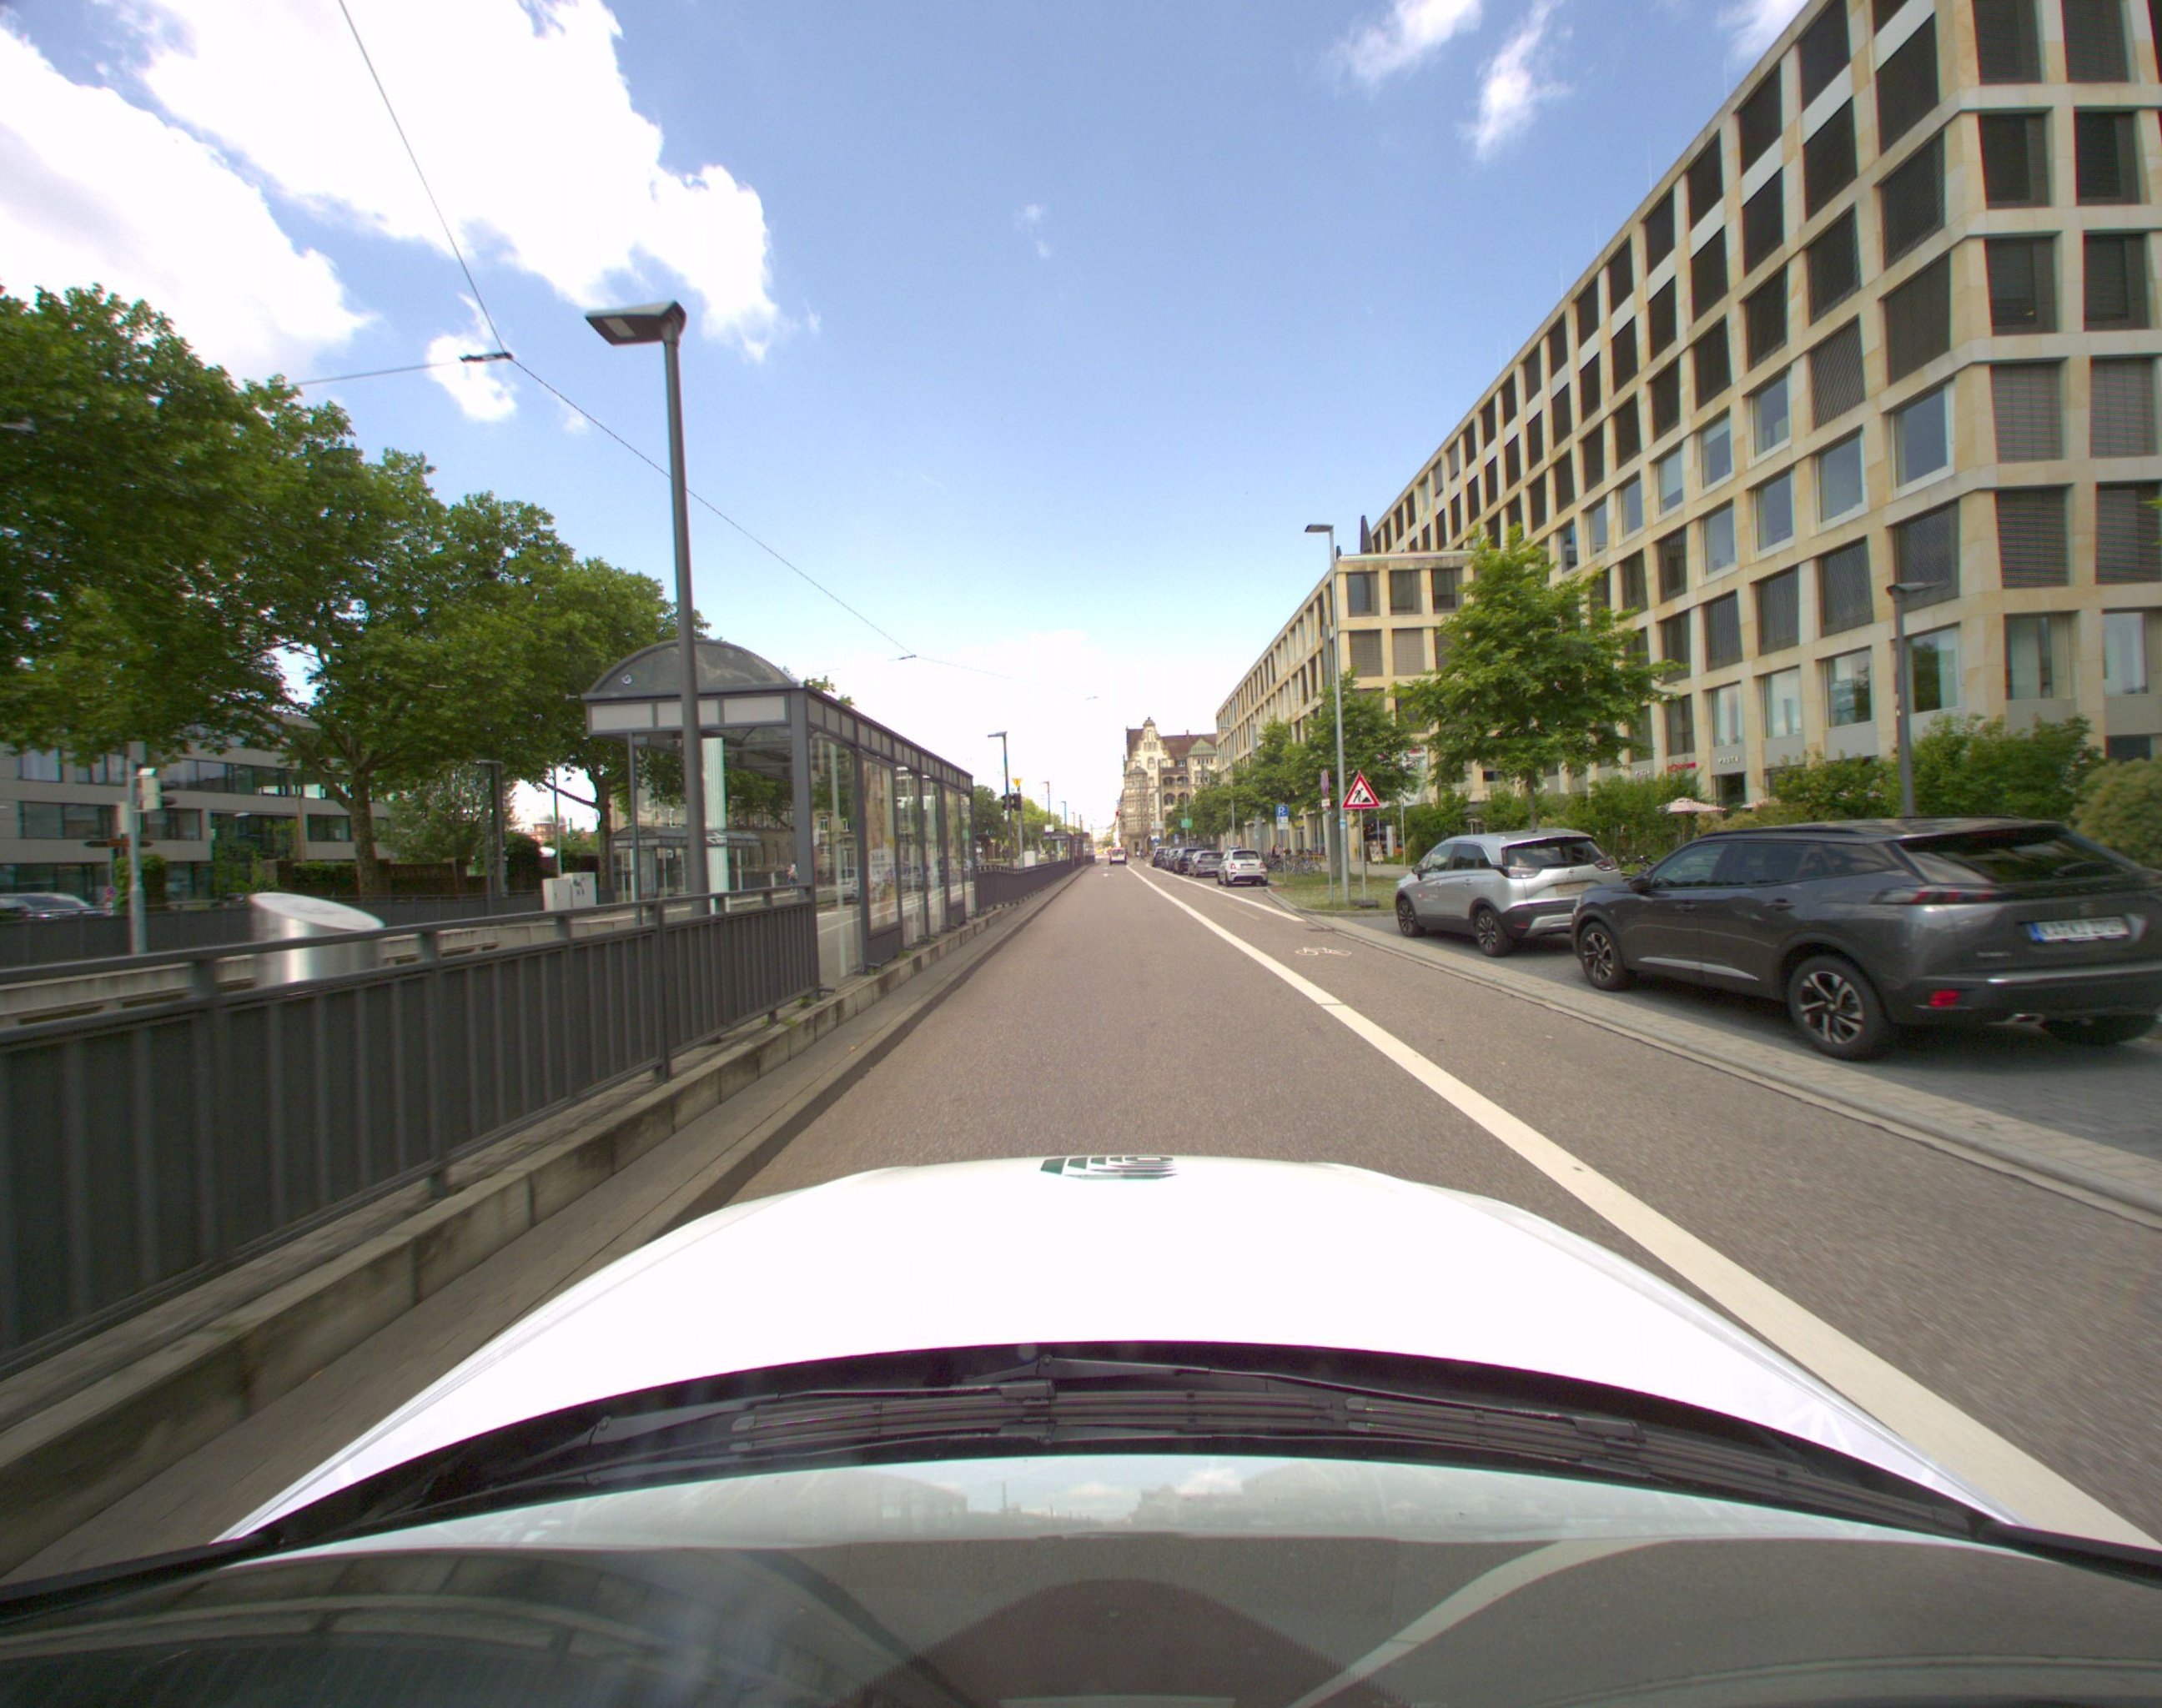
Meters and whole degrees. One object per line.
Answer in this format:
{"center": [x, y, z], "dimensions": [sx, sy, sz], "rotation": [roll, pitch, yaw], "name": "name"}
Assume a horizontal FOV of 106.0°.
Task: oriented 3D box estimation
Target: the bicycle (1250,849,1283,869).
{"center": [10.352, 0.268, 45.497], "dimensions": [1.746, 0.986, 0.326], "rotation": [-3, 0, 1], "name": "bicycle"}

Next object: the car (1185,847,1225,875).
{"center": [6.750, 0.369, 44.603], "dimensions": [1.586, 1.434, 4.107], "rotation": [-1, 1, 0], "name": "car"}

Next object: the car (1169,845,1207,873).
{"center": [6.596, 0.265, 50.630], "dimensions": [1.732, 1.669, 4.840], "rotation": [-1, 1, 0], "name": "car"}

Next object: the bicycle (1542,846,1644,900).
{"center": [9.546, 0.353, 15.216], "dimensions": [1.489, 0.917, 0.505], "rotation": [-3, -3, 4], "name": "bicycle"}

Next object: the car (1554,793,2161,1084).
{"center": [5.790, 0.452, 6.569], "dimensions": [1.679, 1.548, 3.928], "rotation": [-4, 0, 2], "name": "car"}

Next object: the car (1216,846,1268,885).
{"center": [6.569, 0.441, 33.577], "dimensions": [1.584, 1.460, 3.616], "rotation": [-1, 1, 3], "name": "car"}

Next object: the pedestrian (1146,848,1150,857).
{"center": [11.983, -0.309, 145.189], "dimensions": [0.484, 1.609, 0.362], "rotation": [-4, 0, 1], "name": "pedestrian"}

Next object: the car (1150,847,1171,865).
{"center": [6.930, 0.175, 71.400], "dimensions": [1.438, 1.470, 4.092], "rotation": [-1, 1, 0], "name": "car"}

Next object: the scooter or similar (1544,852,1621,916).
{"center": [9.779, 0.570, 15.912], "dimensions": [1.046, 1.175, 0.720], "rotation": [-2, 0, 5], "name": "scooter or similar"}

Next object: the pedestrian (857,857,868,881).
{"center": [-14.385, 0.988, 53.635], "dimensions": [0.498, 1.558, 0.643], "rotation": [-3, 0, 2], "name": "pedestrian"}

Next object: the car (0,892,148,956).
{"center": [-39.249, 2.710, 31.405], "dimensions": [4.122, 2.034, 1.960], "rotation": [-4, 0, 1], "name": "car"}

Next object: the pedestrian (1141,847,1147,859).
{"center": [8.347, -0.131, 107.982], "dimensions": [0.532, 1.572, 0.542], "rotation": [-4, 0, 0], "name": "pedestrian"}

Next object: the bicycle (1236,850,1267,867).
{"center": [10.920, 0.277, 52.152], "dimensions": [1.815, 1.030, 0.433], "rotation": [-3, 0, 4], "name": "bicycle"}

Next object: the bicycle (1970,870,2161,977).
{"center": [9.479, 0.644, 7.680], "dimensions": [1.489, 0.917, 0.505], "rotation": [-3, -3, 4], "name": "bicycle"}

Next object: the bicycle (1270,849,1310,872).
{"center": [10.378, 0.311, 40.461], "dimensions": [1.814, 1.076, 0.687], "rotation": [-3, 0, 5], "name": "bicycle"}

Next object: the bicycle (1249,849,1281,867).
{"center": [10.701, 0.234, 47.311], "dimensions": [1.746, 0.986, 0.326], "rotation": [-3, 0, 1], "name": "bicycle"}

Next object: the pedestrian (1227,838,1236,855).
{"center": [15.551, -0.732, 84.341], "dimensions": [0.757, 1.723, 0.659], "rotation": [-3, 0, 1], "name": "pedestrian"}

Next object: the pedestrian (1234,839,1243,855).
{"center": [16.307, -0.747, 84.334], "dimensions": [0.757, 1.670, 0.659], "rotation": [-3, 0, 1], "name": "pedestrian"}

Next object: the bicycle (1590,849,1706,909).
{"center": [9.467, 0.434, 13.635], "dimensions": [1.489, 0.917, 0.505], "rotation": [-3, -4, 4], "name": "bicycle"}

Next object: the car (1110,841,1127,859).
{"center": [4.389, -0.464, 96.430], "dimensions": [1.862, 2.020, 4.001], "rotation": [-2, 0, 1], "name": "car"}

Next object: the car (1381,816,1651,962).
{"center": [6.021, 0.414, 11.885], "dimensions": [1.680, 1.633, 3.990], "rotation": [-5, 0, 0], "name": "car"}

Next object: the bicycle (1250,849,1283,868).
{"center": [10.693, 0.236, 46.963], "dimensions": [1.746, 0.986, 0.326], "rotation": [-3, 0, 1], "name": "bicycle"}

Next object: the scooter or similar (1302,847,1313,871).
{"center": [11.819, 0.265, 42.480], "dimensions": [0.257, 1.215, 1.015], "rotation": [-3, 0, 1], "name": "scooter or similar"}

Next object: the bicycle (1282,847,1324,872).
{"center": [10.384, 0.254, 38.099], "dimensions": [1.814, 1.076, 0.275], "rotation": [-3, 0, 5], "name": "bicycle"}

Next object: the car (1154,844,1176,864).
{"center": [7.827, -0.011, 76.373], "dimensions": [1.704, 1.796, 3.361], "rotation": [-1, 1, 0], "name": "car"}

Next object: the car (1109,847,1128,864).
{"center": [4.021, 0.159, 88.000], "dimensions": [1.862, 1.746, 4.001], "rotation": [-2, 0, 1], "name": "car"}

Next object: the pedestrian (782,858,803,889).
{"center": [-14.362, 0.957, 40.550], "dimensions": [0.699, 1.512, 0.803], "rotation": [-4, 0, -1], "name": "pedestrian"}

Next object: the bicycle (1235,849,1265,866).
{"center": [11.002, 0.204, 52.913], "dimensions": [1.815, 1.030, 0.585], "rotation": [-3, 0, 4], "name": "bicycle"}

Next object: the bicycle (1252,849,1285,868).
{"center": [10.731, 0.234, 46.602], "dimensions": [1.746, 0.986, 0.326], "rotation": [-3, 0, 1], "name": "bicycle"}

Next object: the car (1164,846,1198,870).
{"center": [7.134, 0.266, 58.522], "dimensions": [1.801, 1.591, 4.840], "rotation": [-1, 1, 0], "name": "car"}

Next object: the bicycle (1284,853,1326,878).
{"center": [10.369, 0.516, 37.797], "dimensions": [1.814, 1.076, 0.275], "rotation": [-3, 0, 5], "name": "bicycle"}

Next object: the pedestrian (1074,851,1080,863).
{"center": [-0.414, 0.250, 79.662], "dimensions": [0.511, 1.140, 0.501], "rotation": [-4, 0, 2], "name": "pedestrian"}

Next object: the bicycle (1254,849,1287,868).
{"center": [10.756, 0.234, 46.260], "dimensions": [1.746, 0.986, 0.326], "rotation": [-3, 0, 1], "name": "bicycle"}
